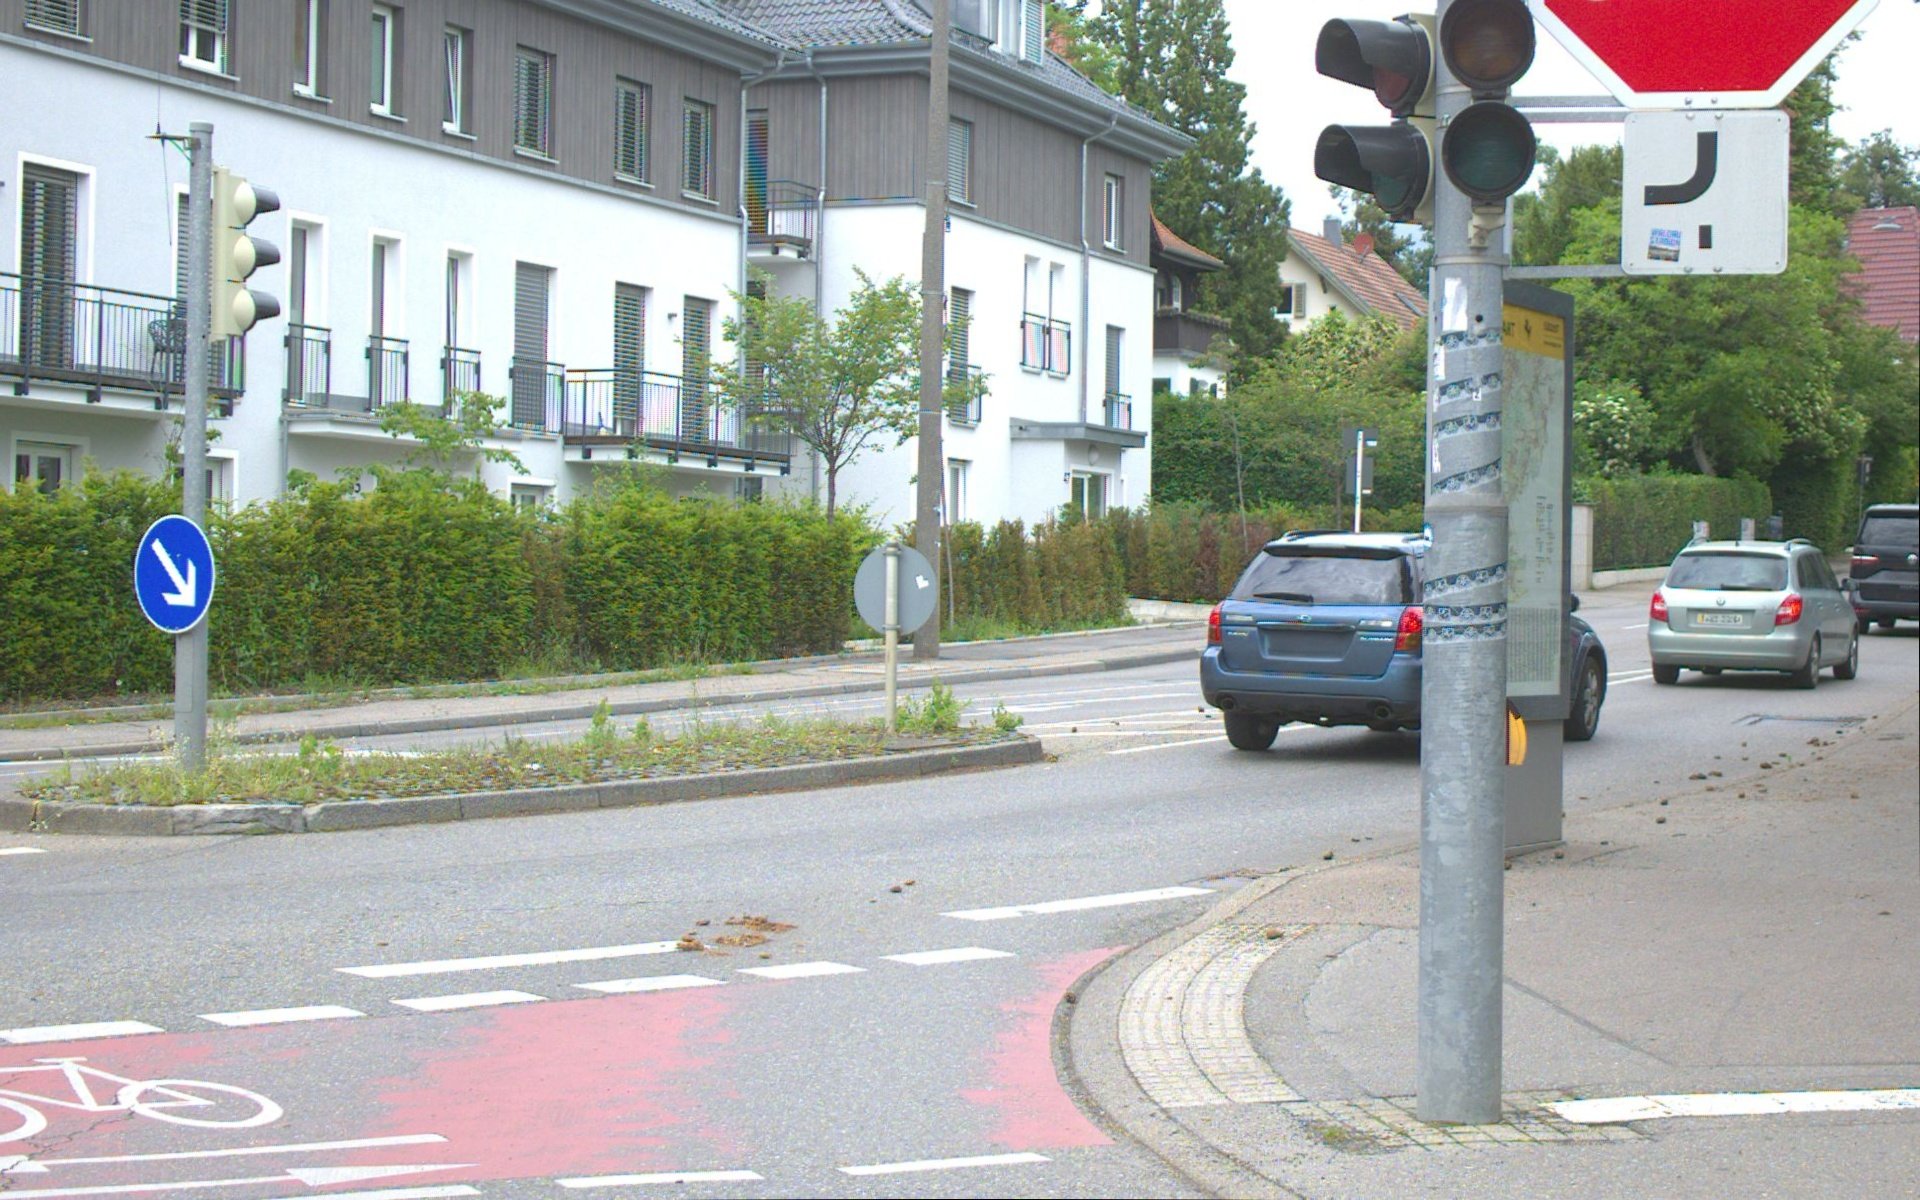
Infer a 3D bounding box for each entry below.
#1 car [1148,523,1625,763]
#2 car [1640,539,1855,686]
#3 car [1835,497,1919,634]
[{"bbox_3d":[3.132,0.229,24.280,1.802,1.522,4.736,0,1,27],"label":"car"},{"bbox_3d":[8.190,0.094,35.556,1.695,1.425,3.745,0,1,20],"label":"car"},{"bbox_3d":[14.174,-0.520,50.513,1.921,1.887,4.903,3,2,21],"label":"car"}]
